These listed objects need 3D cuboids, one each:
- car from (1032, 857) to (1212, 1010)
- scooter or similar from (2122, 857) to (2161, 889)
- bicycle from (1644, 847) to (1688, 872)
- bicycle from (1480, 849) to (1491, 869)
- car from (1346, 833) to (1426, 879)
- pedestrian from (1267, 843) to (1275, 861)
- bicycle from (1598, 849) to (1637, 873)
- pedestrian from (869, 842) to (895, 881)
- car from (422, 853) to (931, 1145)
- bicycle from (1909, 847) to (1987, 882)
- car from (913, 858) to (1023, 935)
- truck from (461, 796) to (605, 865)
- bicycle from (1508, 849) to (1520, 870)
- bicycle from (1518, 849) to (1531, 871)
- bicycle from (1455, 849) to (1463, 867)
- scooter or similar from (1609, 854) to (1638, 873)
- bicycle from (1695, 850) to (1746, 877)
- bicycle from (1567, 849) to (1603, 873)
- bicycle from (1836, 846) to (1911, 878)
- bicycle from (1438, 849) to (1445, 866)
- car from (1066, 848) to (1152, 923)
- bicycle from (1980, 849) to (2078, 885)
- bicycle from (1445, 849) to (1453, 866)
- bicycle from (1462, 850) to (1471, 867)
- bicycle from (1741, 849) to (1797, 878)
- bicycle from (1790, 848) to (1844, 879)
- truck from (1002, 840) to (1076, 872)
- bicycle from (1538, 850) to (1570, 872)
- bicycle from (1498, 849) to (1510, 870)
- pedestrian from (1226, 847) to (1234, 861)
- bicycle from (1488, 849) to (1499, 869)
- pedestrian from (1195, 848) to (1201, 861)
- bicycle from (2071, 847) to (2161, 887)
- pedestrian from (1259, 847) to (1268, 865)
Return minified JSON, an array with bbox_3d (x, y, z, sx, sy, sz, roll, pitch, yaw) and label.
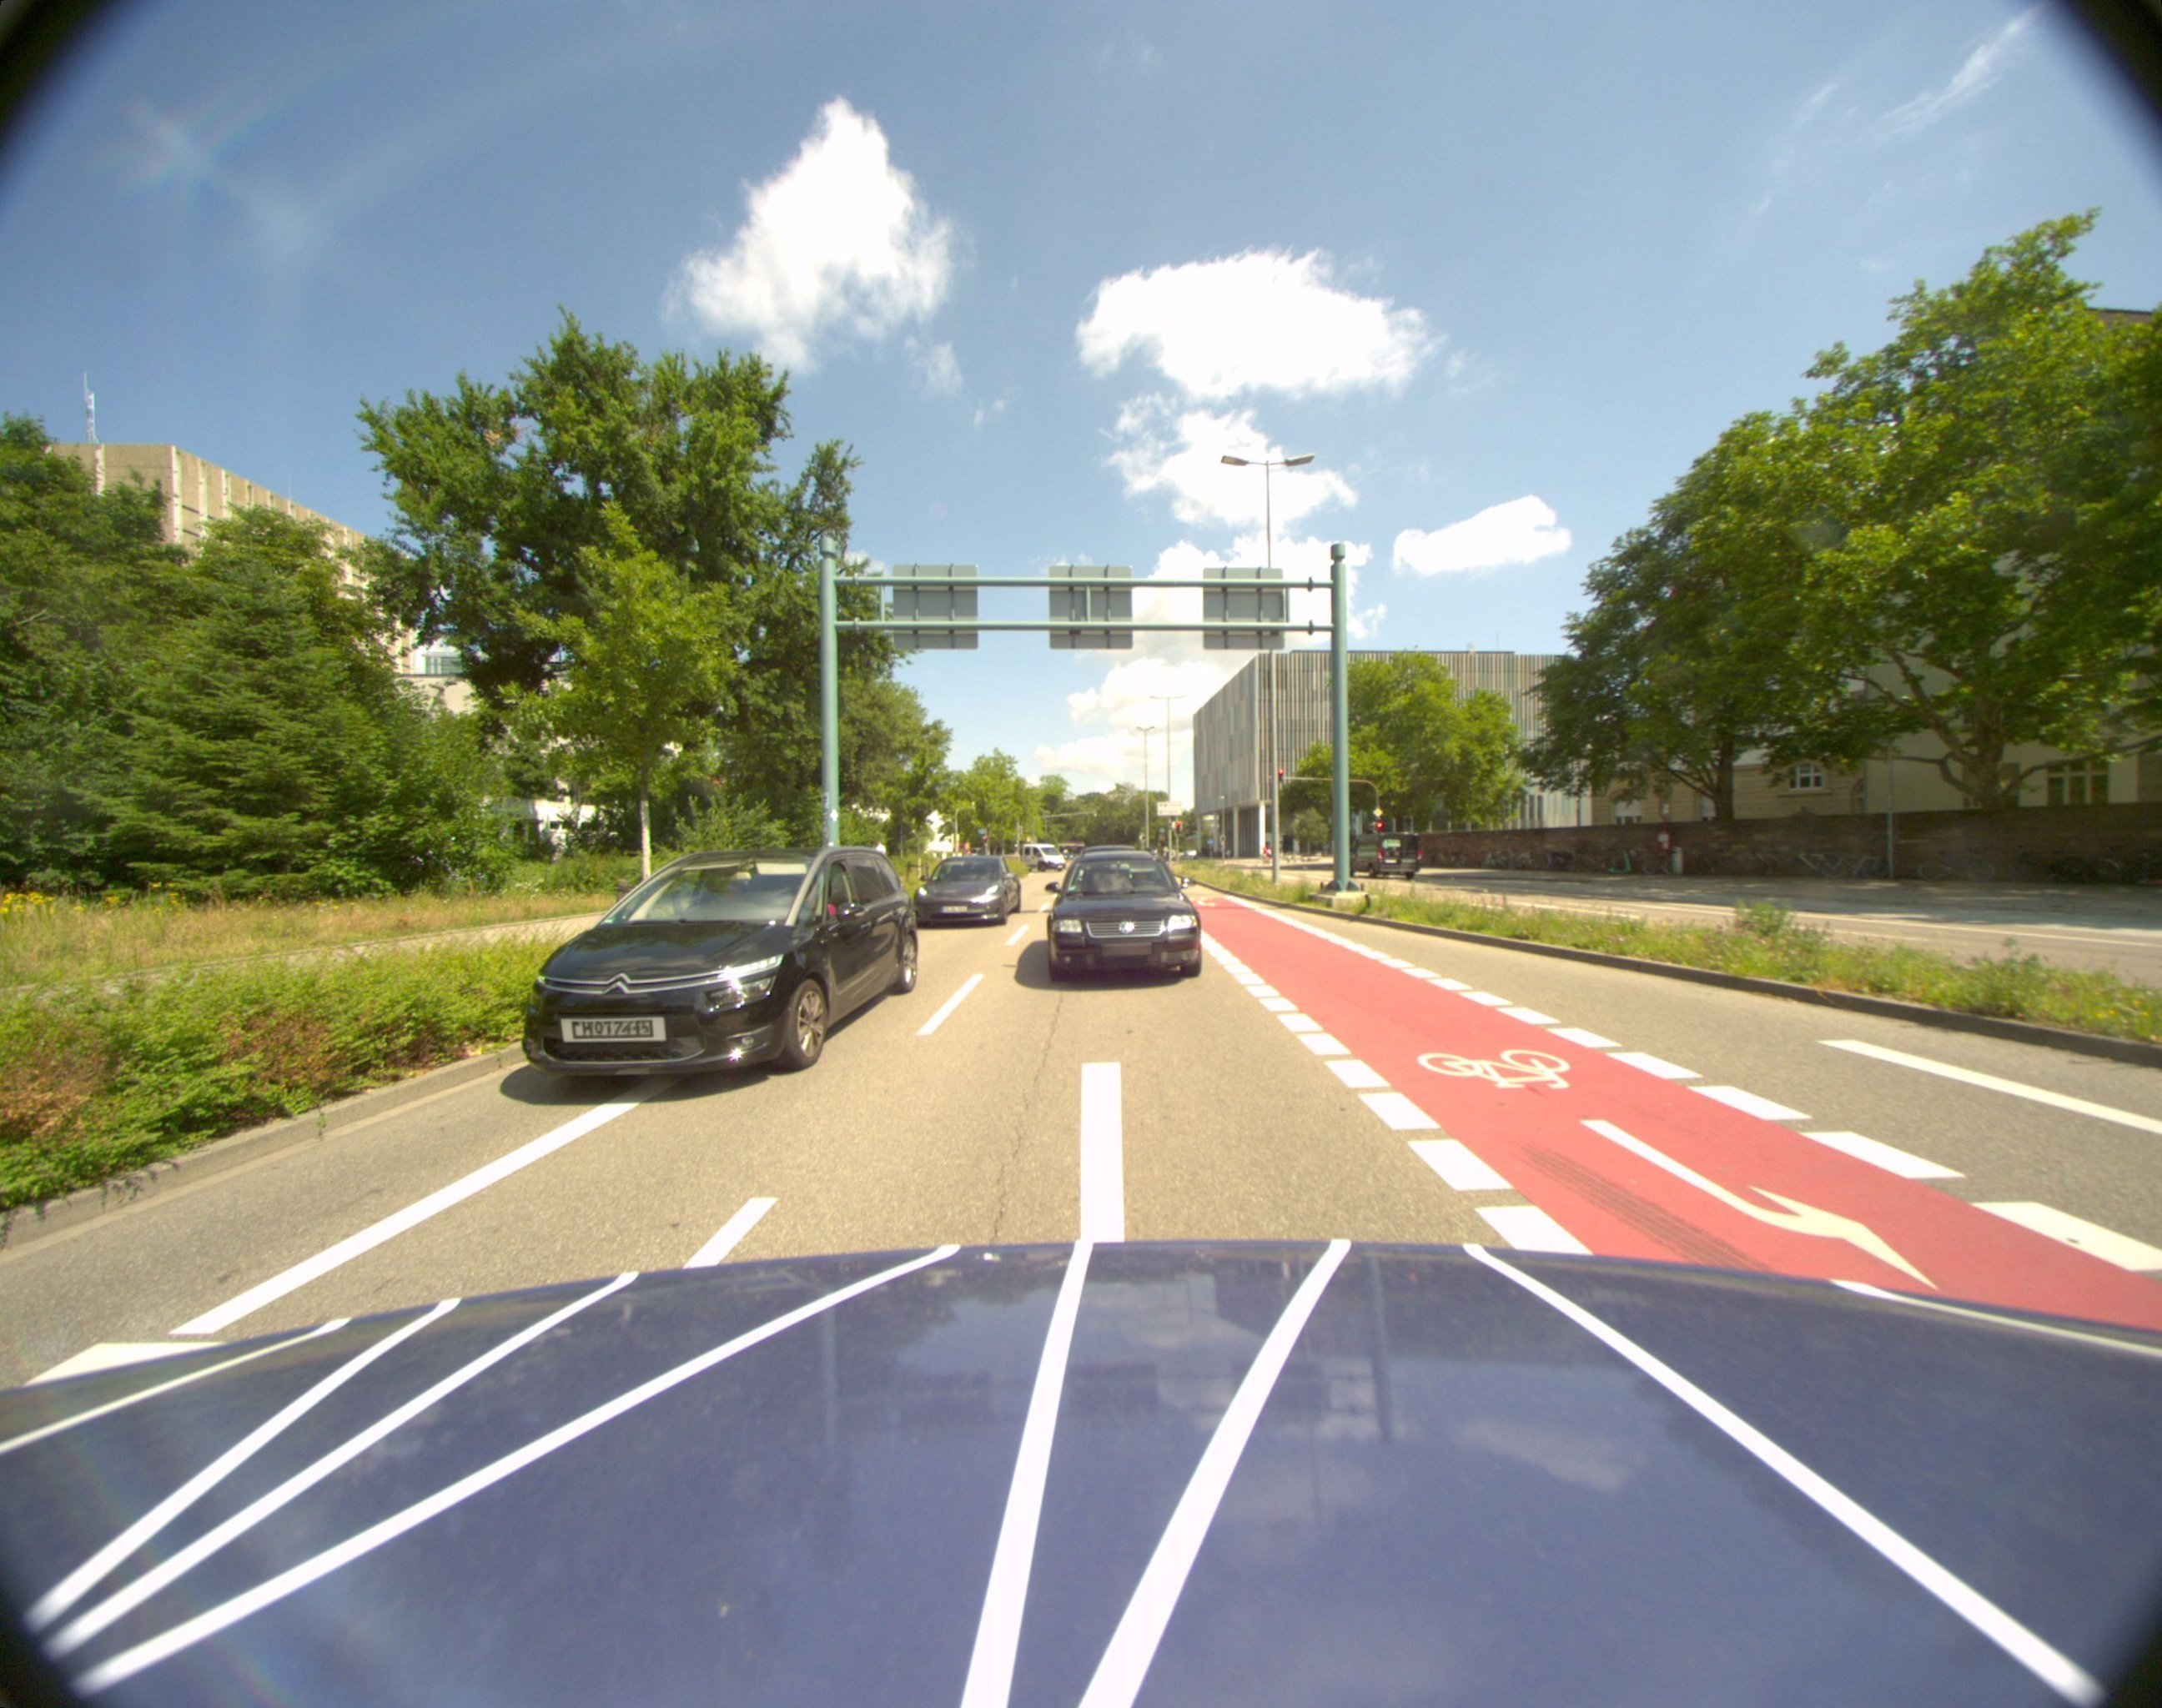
[{"bbox_3d":[0.491,0.812,9.887,1.751,1.426,4.520,-2,0,2],"label":"car"},{"bbox_3d":[27.165,0.468,19.124,0.353,0.789,1.067,-1,1,-24],"label":"scooter or similar"},{"bbox_3d":[24.860,0.232,32.323,0.383,1.037,1.668,-1,1,-11],"label":"bicycle"},{"bbox_3d":[23.010,0.269,43.272,0.382,1.101,1.673,0,1,22],"label":"bicycle"},{"bbox_3d":[14.985,0.087,37.625,2.214,2.158,4.520,0,0,2],"label":"car"},{"bbox_3d":[20.588,-0.203,82.488,0.631,1.907,0.718,-2,2,-2],"label":"pedestrian"},{"bbox_3d":[24.571,0.301,34.845,0.383,1.101,1.668,-1,1,-11],"label":"bicycle"},{"bbox_3d":[-9.123,0.338,34.861,0.844,1.755,0.841,-2,2,1],"label":"pedestrian"},{"bbox_3d":[-2.815,0.854,6.701,1.862,1.613,4.520,-3,0,2],"label":"car"},{"bbox_3d":[26.800,0.309,23.526,0.398,1.037,1.582,-1,1,-13],"label":"bicycle"},{"bbox_3d":[-2.338,0.833,16.812,1.765,1.409,4.363,-2,0,-1],"label":"car"},{"bbox_3d":[-26.718,-1.108,37.503,2.098,3.006,7.121,-2,1,-3],"label":"truck"},{"bbox_3d":[23.452,0.292,41.151,0.382,1.101,1.673,0,1,22],"label":"bicycle"},{"bbox_3d":[23.578,0.303,40.394,0.382,1.101,1.673,0,1,22],"label":"bicycle"},{"bbox_3d":[22.902,0.243,46.068,0.329,1.012,1.673,0,1,22],"label":"bicycle"},{"bbox_3d":[24.047,0.421,33.690,0.353,0.838,1.068,-1,1,-12],"label":"scooter or similar"},{"bbox_3d":[25.372,0.353,30.159,0.383,1.037,1.668,-1,1,-11],"label":"bicycle"},{"bbox_3d":[24.262,0.321,36.590,0.383,1.101,1.668,-1,1,-10],"label":"bicycle"},{"bbox_3d":[26.371,0.254,25.314,0.398,1.037,1.759,-1,1,-13],"label":"bicycle"},{"bbox_3d":[22.659,0.216,47.730,0.329,1.012,1.673,0,1,22],"label":"bicycle"},{"bbox_3d":[0.670,0.656,18.223,1.751,1.496,4.520,-3,0,2],"label":"car"},{"bbox_3d":[27.193,0.349,21.836,0.398,0.998,1.759,-1,1,-13],"label":"bicycle"},{"bbox_3d":[22.781,0.226,46.998,0.329,1.012,1.673,0,1,22],"label":"bicycle"},{"bbox_3d":[22.998,0.260,45.353,0.329,1.012,1.673,0,1,22],"label":"bicycle"},{"bbox_3d":[25.695,0.337,28.416,0.383,1.037,1.668,-1,1,-11],"label":"bicycle"},{"bbox_3d":[26.014,0.318,26.880,0.377,1.037,1.415,-1,1,-13],"label":"bicycle"},{"bbox_3d":[-3.458,0.200,61.145,5.800,2.287,2.468,-3,1,42],"label":"truck"},{"bbox_3d":[24.023,0.333,38.608,0.382,1.101,1.669,-1,1,-8],"label":"bicycle"},{"bbox_3d":[23.361,0.281,42.014,0.382,1.101,1.673,0,1,22],"label":"bicycle"},{"bbox_3d":[20.984,0.026,107.210,0.825,1.906,0.807,-2,2,-4],"label":"pedestrian"},{"bbox_3d":[23.264,0.268,42.831,0.382,1.101,1.673,0,1,22],"label":"bicycle"},{"bbox_3d":[17.646,0.122,114.613,0.715,1.906,0.807,-2,2,-4],"label":"pedestrian"},{"bbox_3d":[27.619,0.325,20.064,0.398,1.037,1.759,-1,1,-14],"label":"bicycle"},{"bbox_3d":[20.378,0.209,84.866,0.715,1.906,0.807,-2,2,-4],"label":"pedestrian"}]
